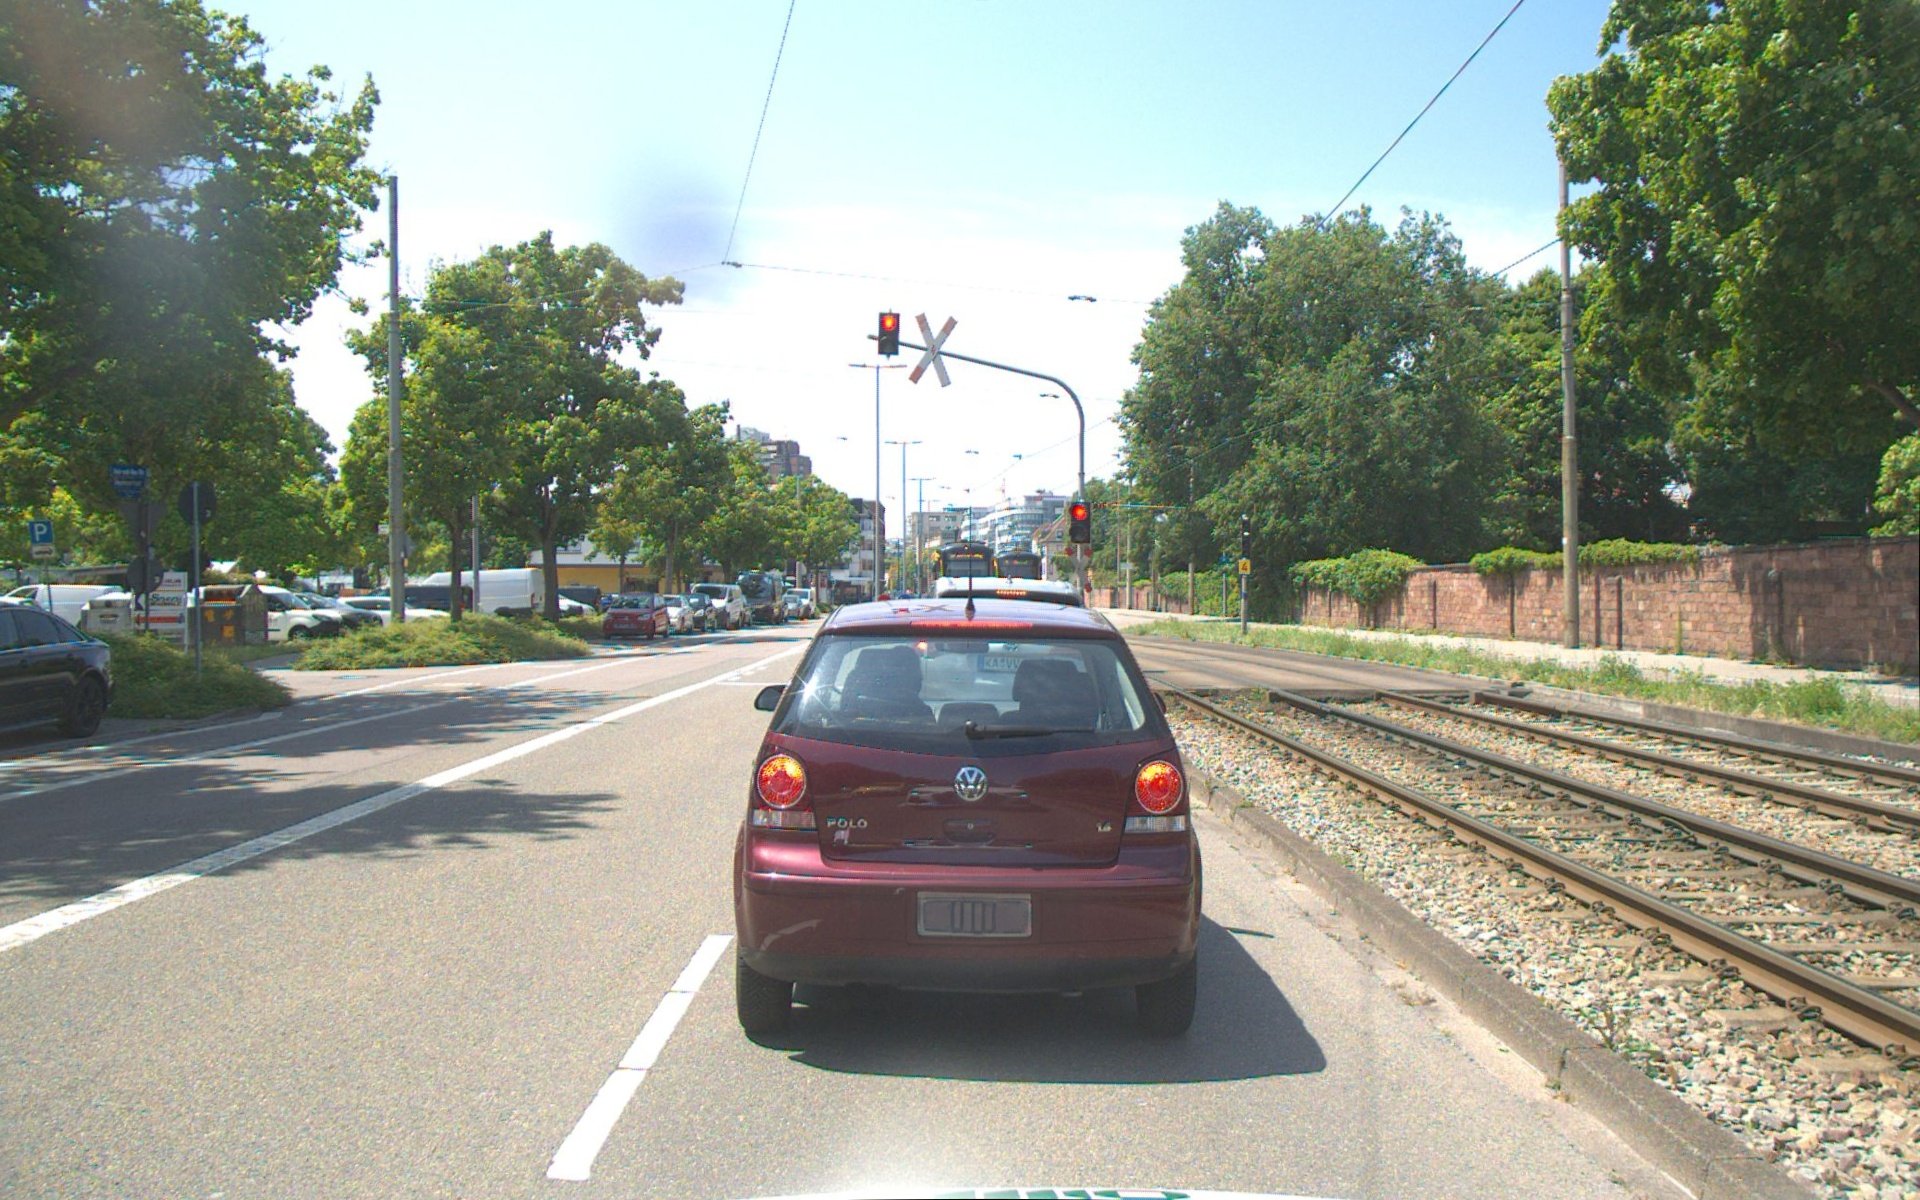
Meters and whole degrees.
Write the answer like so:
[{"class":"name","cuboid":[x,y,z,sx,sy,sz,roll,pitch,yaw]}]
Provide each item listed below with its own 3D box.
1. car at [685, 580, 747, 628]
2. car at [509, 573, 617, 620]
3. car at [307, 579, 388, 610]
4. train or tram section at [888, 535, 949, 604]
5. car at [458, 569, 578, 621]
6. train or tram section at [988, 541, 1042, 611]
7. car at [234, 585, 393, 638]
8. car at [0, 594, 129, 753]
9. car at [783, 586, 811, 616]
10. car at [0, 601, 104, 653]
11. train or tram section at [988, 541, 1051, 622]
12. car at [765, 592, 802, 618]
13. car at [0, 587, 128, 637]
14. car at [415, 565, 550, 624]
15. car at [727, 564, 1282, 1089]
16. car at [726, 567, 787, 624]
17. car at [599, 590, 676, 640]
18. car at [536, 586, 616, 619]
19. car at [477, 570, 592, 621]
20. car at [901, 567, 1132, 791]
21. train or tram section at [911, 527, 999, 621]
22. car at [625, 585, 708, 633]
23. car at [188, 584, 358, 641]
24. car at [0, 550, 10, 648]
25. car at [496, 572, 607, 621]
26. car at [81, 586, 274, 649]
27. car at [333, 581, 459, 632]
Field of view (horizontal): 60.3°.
[{"class":"car","cuboid":[-10.449,0.191,71.077,1.746,1.914,4.787,2,-1,2]},{"class":"car","cuboid":[-20.887,-0.162,87.192,4.993,2.283,2.378,2,-1,0]},{"class":"car","cuboid":[-35.323,-0.286,95.498,3.939,1.645,1.816,2,-1,-2]},{"class":"train or tram section","cuboid":[-2.501,-1.722,95.310,2.688,3.672,10.938,2,0,-5]},{"class":"car","cuboid":[-21.016,-0.233,78.812,4.993,2.283,2.378,2,-1,0]},{"class":"train or tram section","cuboid":[3.178,-1.368,98.389,2.966,3.864,13.091,0,0,1]},{"class":"car","cuboid":[-20.371,0.340,52.208,4.251,1.612,1.914,0,0,5]},{"class":"car","cuboid":[-10.308,0.721,16.539,1.782,1.502,4.448,2,0,-1]},{"class":"car","cuboid":[-10.587,0.059,107.401,1.741,1.860,3.995,2,-1,-6]},{"class":"car","cuboid":[-32.475,0.928,58.007,3.913,1.682,1.812,2,-1,-9]},{"class":"train or tram section","cuboid":[2.944,-0.920,85.390,2.966,3.864,13.091,0,0,1]},{"class":"car","cuboid":[-10.782,0.321,101.137,1.581,1.466,4.001,2,-1,3]},{"class":"car","cuboid":[-32.835,0.436,60.417,3.913,1.682,1.812,2,-1,-9]},{"class":"car","cuboid":[-20.356,-0.218,70.694,4.993,2.283,2.378,2,-1,0]},{"class":"car","cuboid":[0.089,0.672,6.990,1.638,1.548,3.999,2,0,-2]},{"class":"car","cuboid":[-10.305,-0.194,84.124,2.313,2.739,5.307,2,-1,0]},{"class":"car","cuboid":[-10.545,0.506,54.287,1.628,1.523,4.000,2,-1,1]},{"class":"car","cuboid":[-21.194,0.130,91.468,3.938,1.645,1.816,2,-1,0]},{"class":"car","cuboid":[-21.070,-0.210,81.984,4.993,2.283,2.378,2,-1,0]},{"class":"car","cuboid":[0.383,0.591,14.692,1.741,1.676,3.999,2,0,-2]},{"class":"train or tram section","cuboid":[-0.380,-1.124,72.851,2.688,3.672,12.856,2,0,-5]},{"class":"car","cuboid":[-10.738,0.341,60.833,1.934,1.629,4.560,2,-1,4]},{"class":"car","cuboid":[-20.455,0.360,49.361,4.251,1.612,1.914,0,0,5]},{"class":"car","cuboid":[-33.106,-0.147,50.450,6.714,3.017,2.363,2,-1,-2]},{"class":"car","cuboid":[-20.832,-0.182,84.474,4.993,2.283,2.378,2,-1,0]},{"class":"car","cuboid":[-20.935,0.462,44.389,4.256,1.612,1.912,-1,0,-3]},{"class":"car","cuboid":[-20.512,0.221,60.238,3.906,1.776,1.998,-1,0,-2]}]
